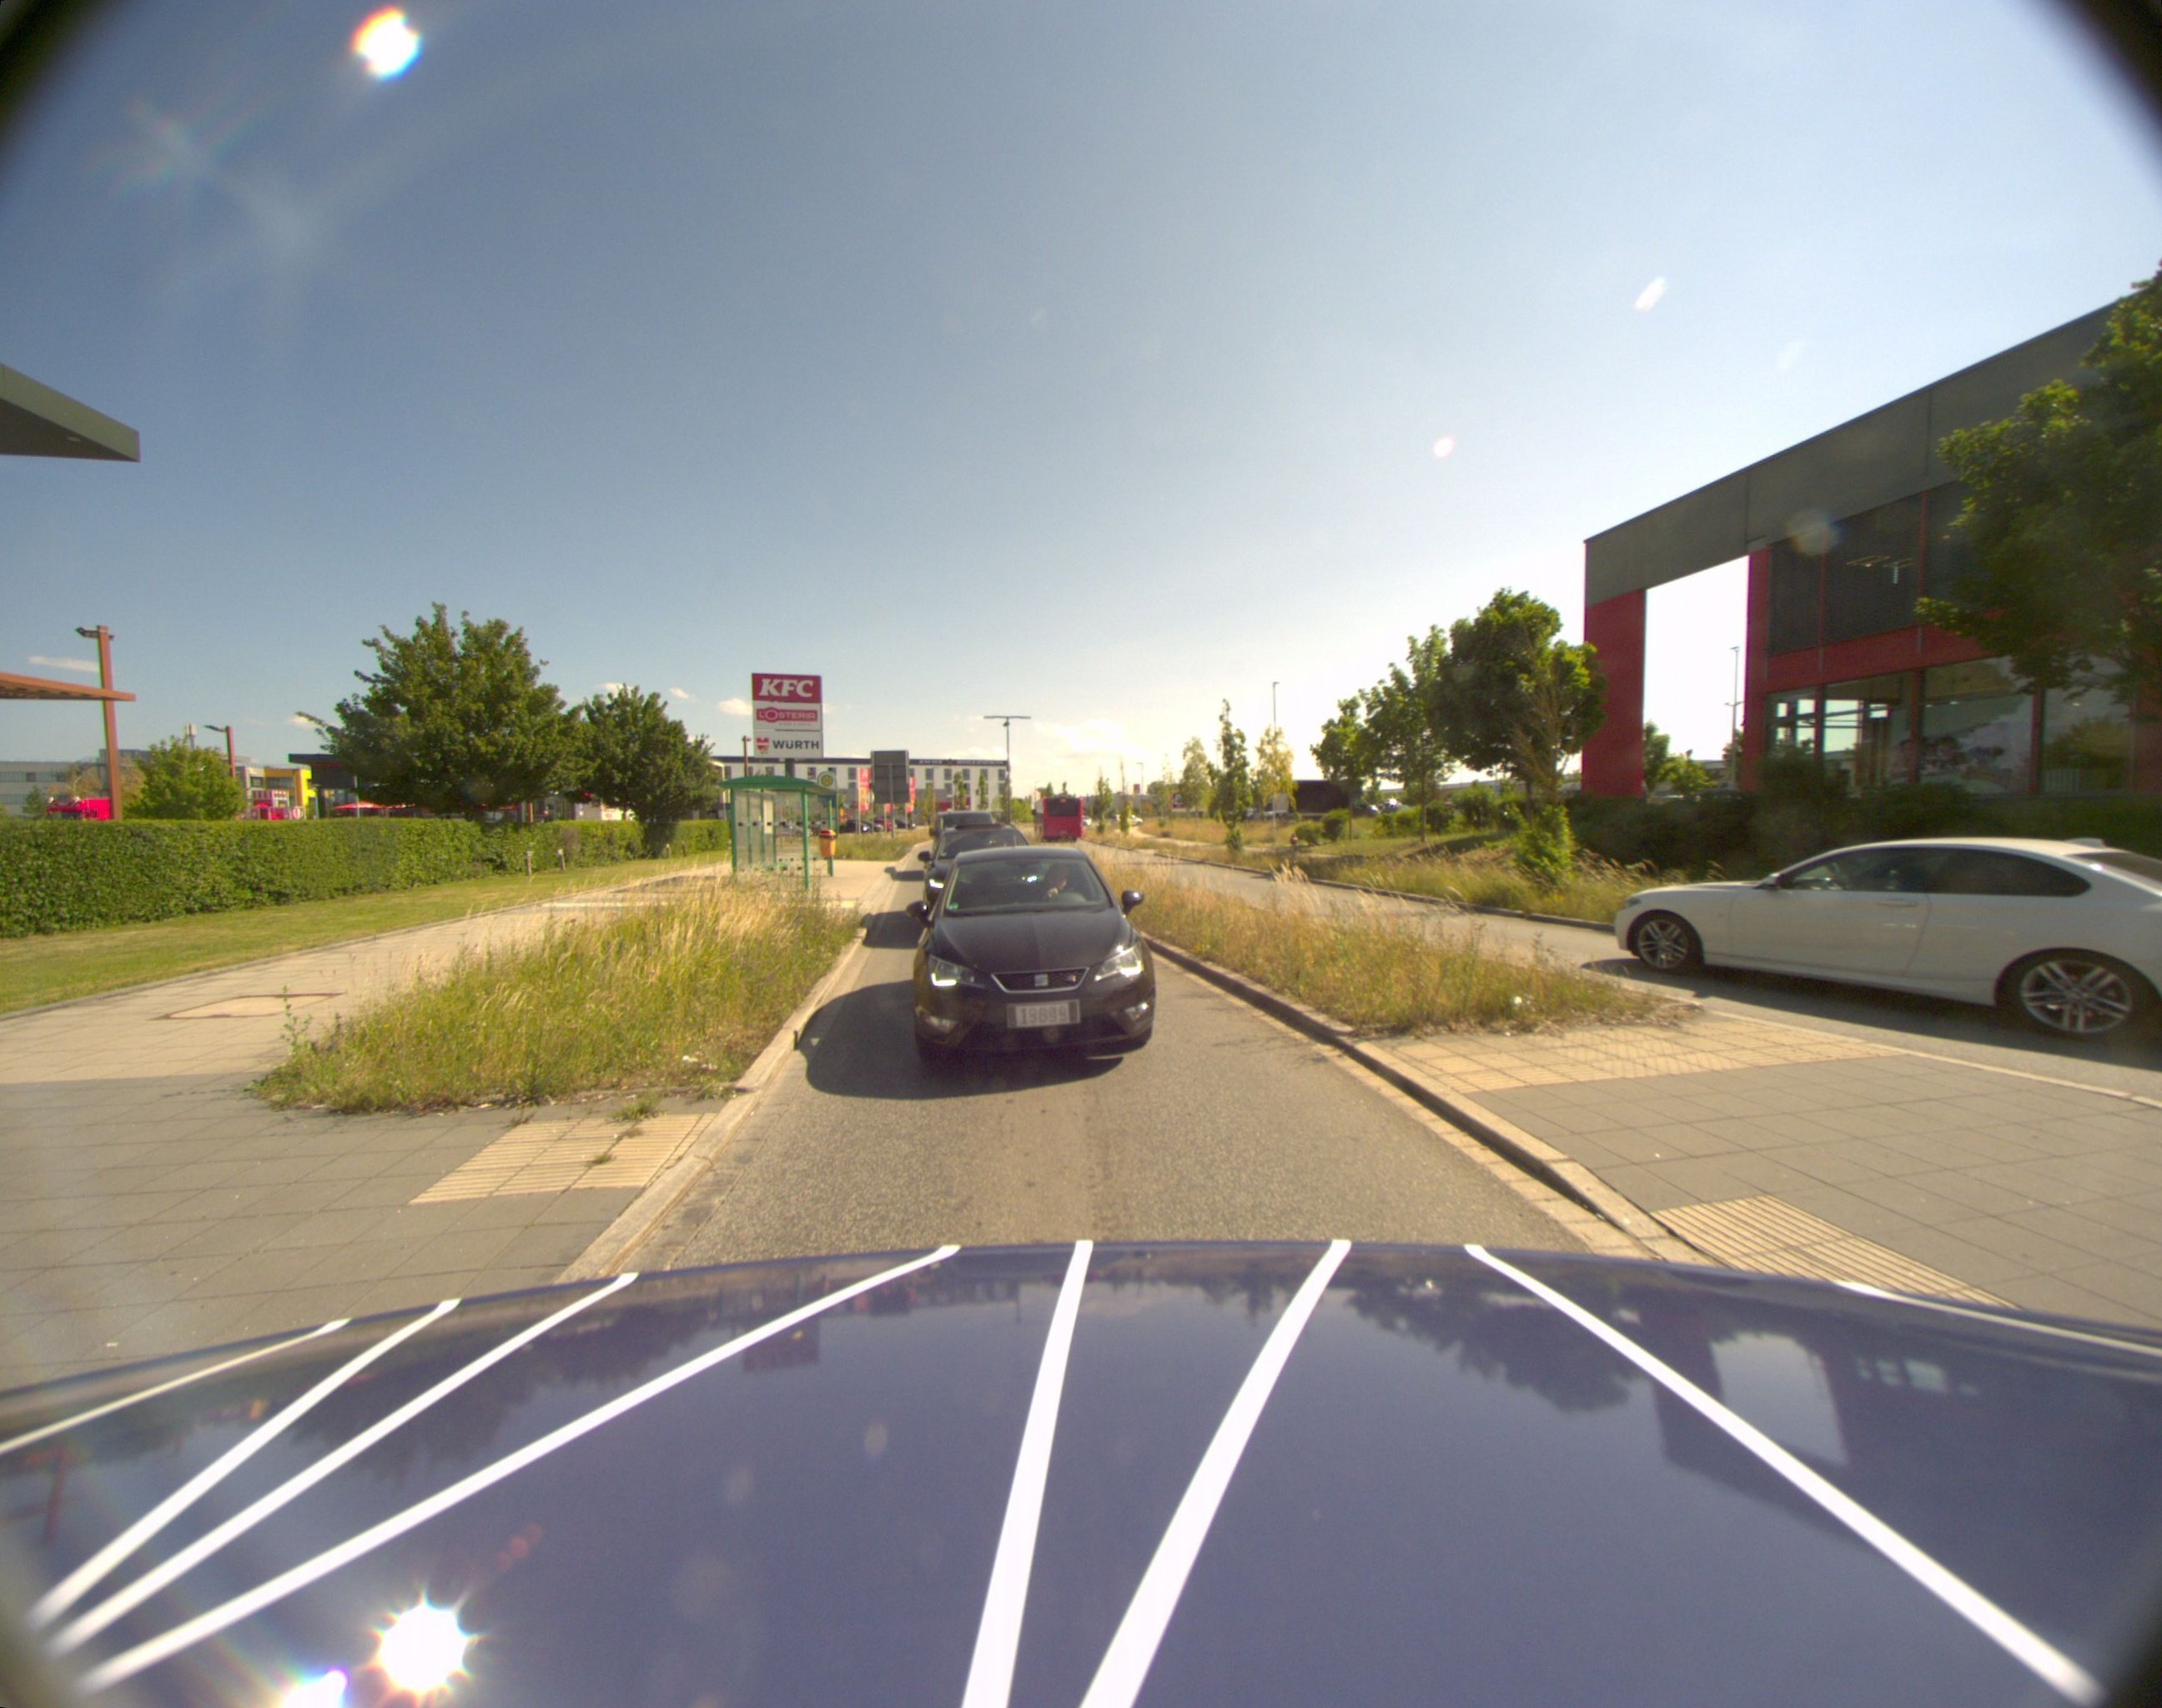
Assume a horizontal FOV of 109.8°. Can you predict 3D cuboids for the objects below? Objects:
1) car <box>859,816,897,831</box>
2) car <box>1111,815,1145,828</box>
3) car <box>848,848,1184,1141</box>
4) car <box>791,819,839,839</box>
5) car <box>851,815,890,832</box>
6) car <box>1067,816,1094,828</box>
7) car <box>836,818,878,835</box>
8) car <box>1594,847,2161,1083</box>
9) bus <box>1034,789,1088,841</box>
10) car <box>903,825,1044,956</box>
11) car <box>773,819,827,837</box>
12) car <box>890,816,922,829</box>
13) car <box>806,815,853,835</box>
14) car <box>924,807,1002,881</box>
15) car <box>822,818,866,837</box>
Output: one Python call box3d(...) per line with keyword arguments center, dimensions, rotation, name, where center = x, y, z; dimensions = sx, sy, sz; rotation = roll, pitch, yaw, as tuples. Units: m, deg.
box3d(center=(-25.418, -3.845, 95.348), dimensions=(4.181, 1.752, 1.824), rotation=(0, 3, 7), name="car")
box3d(center=(6.359, -4.361, 102.015), dimensions=(4.287, 1.667, 1.615), rotation=(-2, 3, -25), name="car")
box3d(center=(-0.526, 0.780, 6.353), dimensions=(1.862, 1.460, 3.996), rotation=(-3, 3, -5), name="car")
box3d(center=(-27.125, -2.560, 77.560), dimensions=(4.182, 2.003, 1.933), rotation=(-1, 3, 4), name="car")
box3d(center=(-25.483, -3.745, 92.007), dimensions=(4.183, 2.003, 1.932), rotation=(-1, 3, 2), name="car")
box3d(center=(-0.075, -4.584, 107.590), dimensions=(1.622, 1.667, 3.934), rotation=(-3, 4, -44), name="car")
box3d(center=(-25.572, -3.125, 86.898), dimensions=(4.181, 1.847, 1.803), rotation=(0, 3, 7), name="car")
box3d(center=(7.223, 0.701, 6.558), dimensions=(1.799, 1.408, 4.372), rotation=(0, 2, -20), name="car")
box3d(center=(-1.596, -2.673, 53.207), dimensions=(2.617, 3.224, 11.868), rotation=(-1, 2, -7), name="bus")
box3d(center=(-1.780, 0.428, 12.674), dimensions=(1.863, 1.679, 3.995), rotation=(-4, 4, -8), name="car")
box3d(center=(-26.918, -2.521, 72.896), dimensions=(4.441, 1.644, 1.931), rotation=(-1, 3, -4), name="car")
box3d(center=(-23.439, -4.213, 101.708), dimensions=(3.821, 1.611, 1.756), rotation=(-1, 3, 3), name="car")
box3d(center=(-26.693, -3.081, 80.695), dimensions=(4.183, 2.003, 1.933), rotation=(-1, 3, 3), name="car")
box3d(center=(-3.726, -0.414, 24.251), dimensions=(2.080, 2.038, 4.676), rotation=(-4, 4, -8), name="car")
box3d(center=(-26.389, -2.944, 84.594), dimensions=(4.183, 2.003, 1.933), rotation=(-1, 3, 4), name="car")
